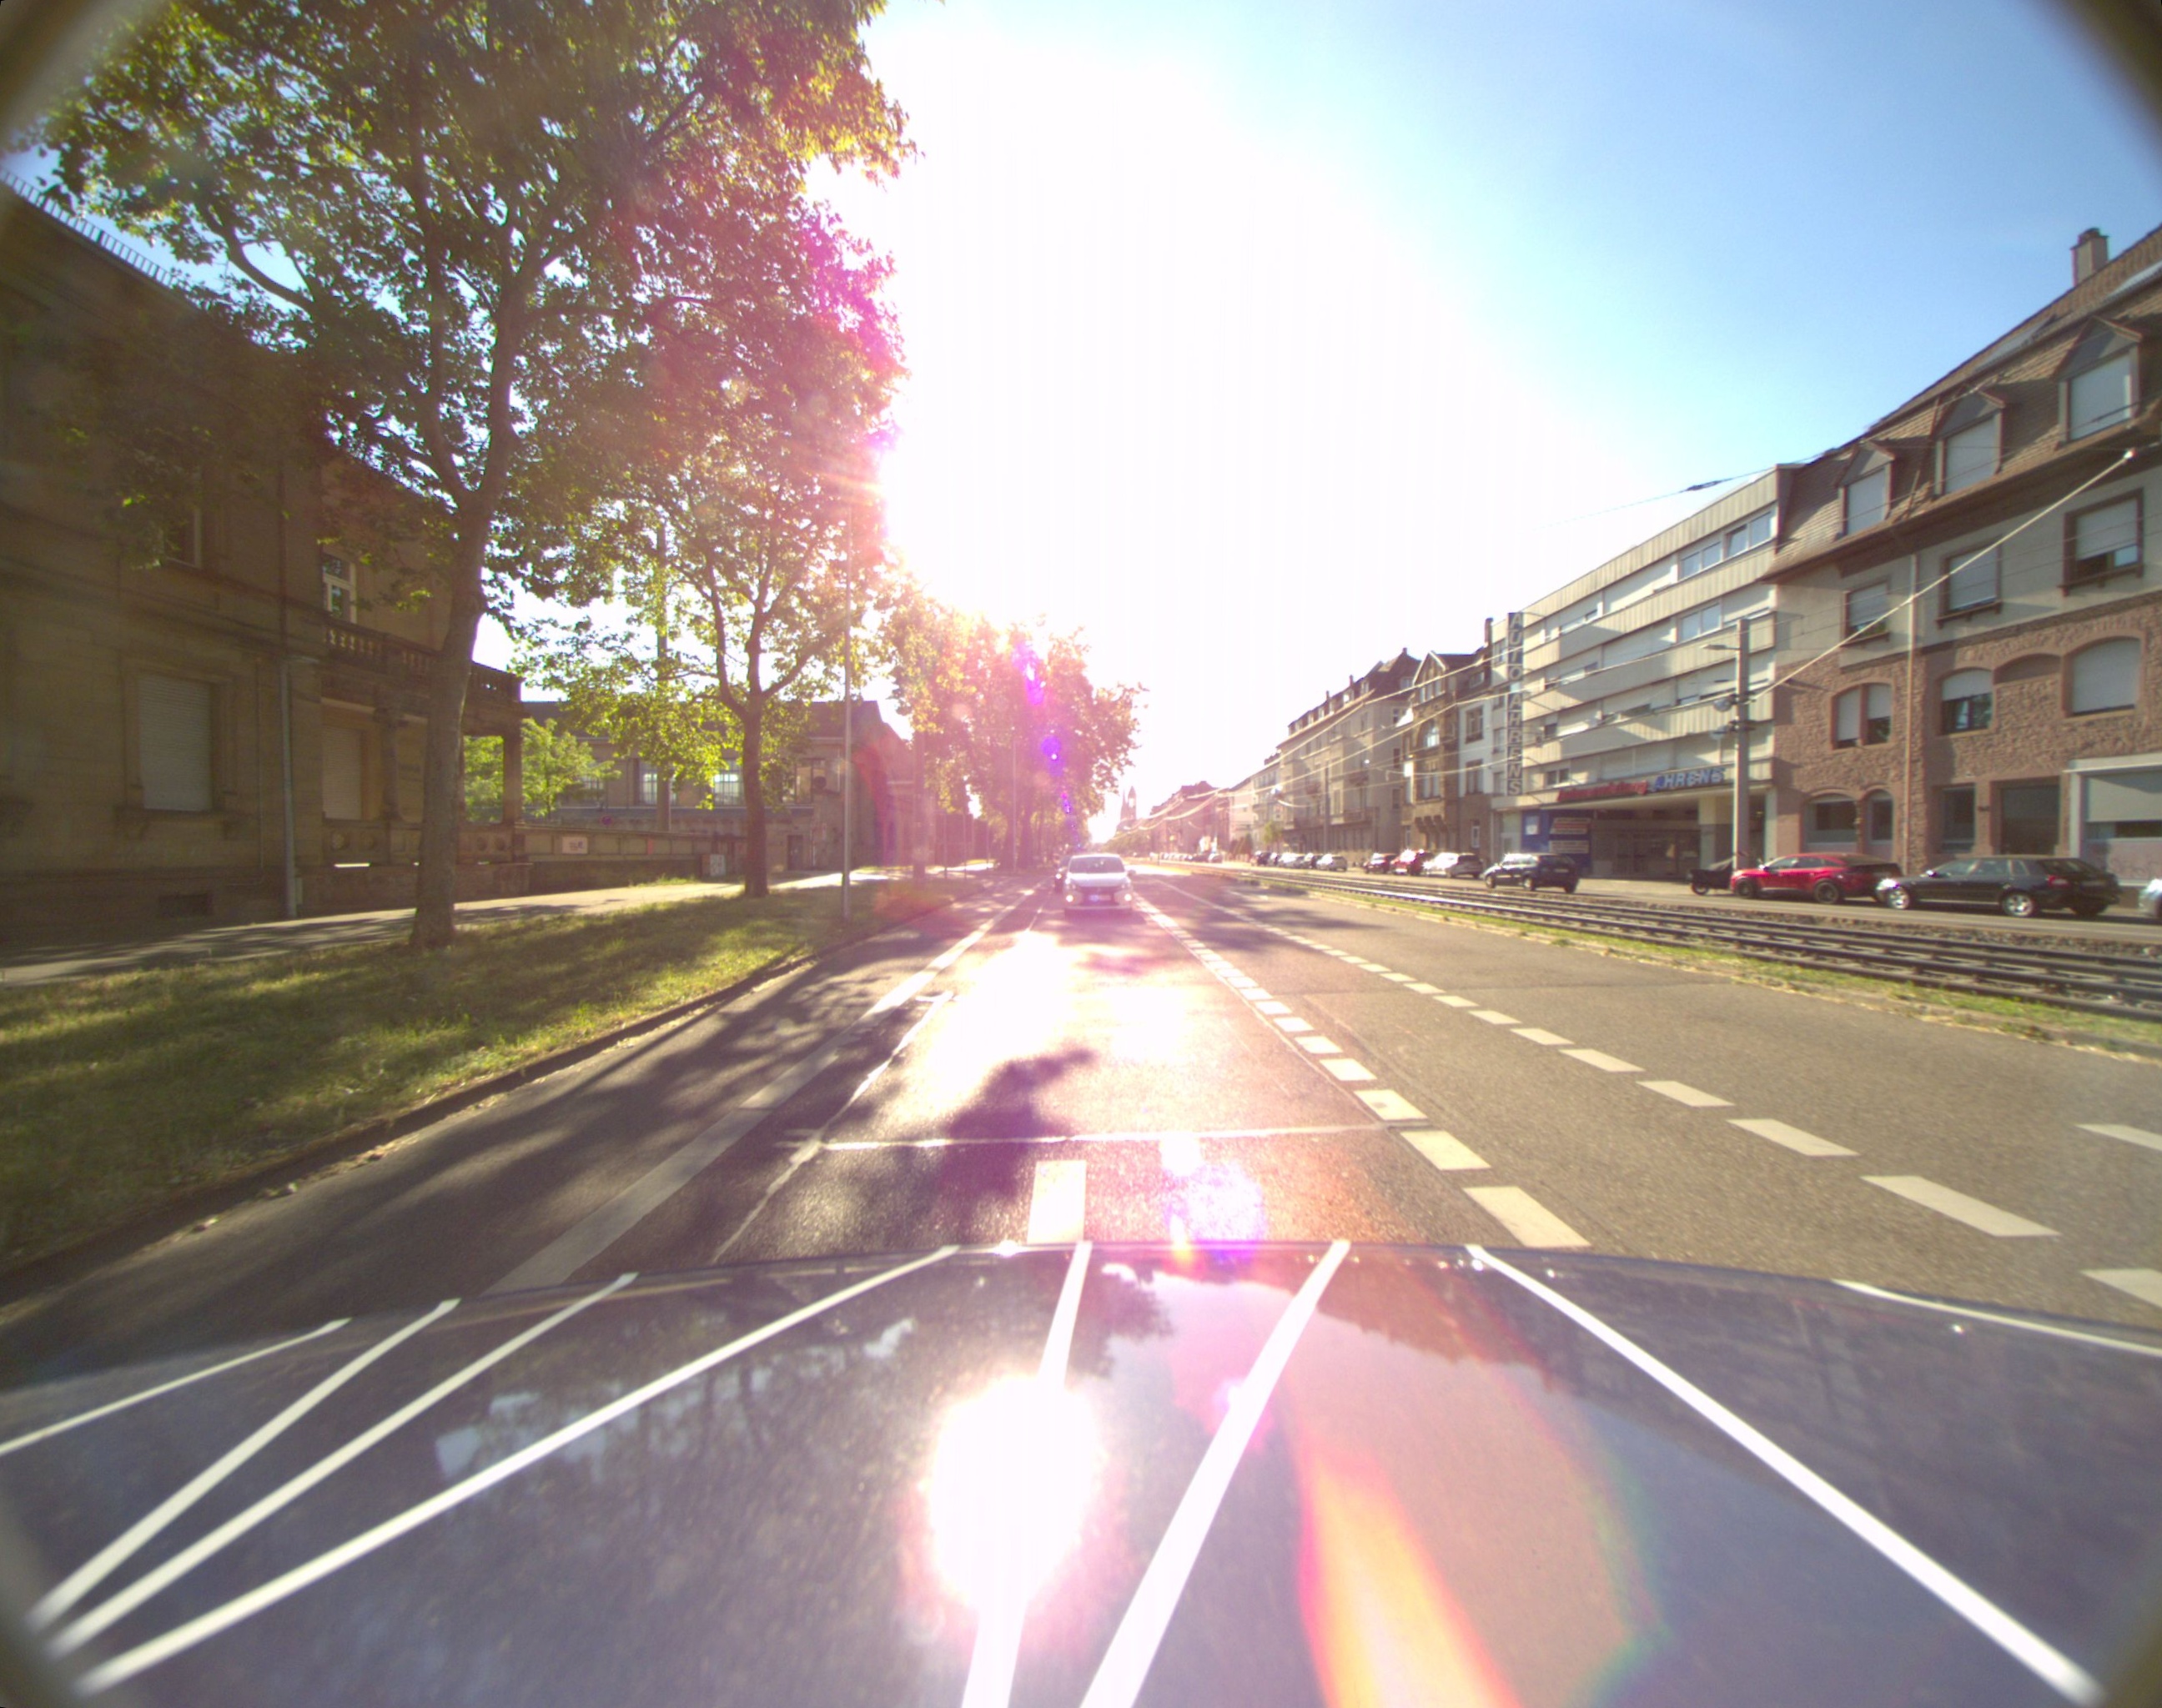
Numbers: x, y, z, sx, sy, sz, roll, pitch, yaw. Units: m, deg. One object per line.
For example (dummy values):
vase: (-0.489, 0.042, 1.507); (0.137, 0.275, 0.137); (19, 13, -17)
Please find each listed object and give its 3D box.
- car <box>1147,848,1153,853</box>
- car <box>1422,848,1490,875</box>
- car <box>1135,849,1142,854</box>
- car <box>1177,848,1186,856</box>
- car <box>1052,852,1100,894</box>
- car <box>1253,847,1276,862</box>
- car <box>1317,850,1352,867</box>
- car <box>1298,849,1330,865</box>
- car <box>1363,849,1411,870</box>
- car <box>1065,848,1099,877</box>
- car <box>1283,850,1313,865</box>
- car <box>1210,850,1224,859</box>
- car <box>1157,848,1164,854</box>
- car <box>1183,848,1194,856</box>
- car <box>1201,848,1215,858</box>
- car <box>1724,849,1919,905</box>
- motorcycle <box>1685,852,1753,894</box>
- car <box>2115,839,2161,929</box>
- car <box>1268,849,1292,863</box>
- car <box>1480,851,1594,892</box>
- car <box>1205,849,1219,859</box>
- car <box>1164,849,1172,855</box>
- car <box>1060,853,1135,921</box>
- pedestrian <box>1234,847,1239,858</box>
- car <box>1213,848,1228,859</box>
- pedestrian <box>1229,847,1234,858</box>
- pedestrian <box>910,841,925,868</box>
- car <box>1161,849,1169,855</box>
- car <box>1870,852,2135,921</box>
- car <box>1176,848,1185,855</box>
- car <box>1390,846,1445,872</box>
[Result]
car: (22.482, -1.185, 246.678); (1.624, 1.581, 3.450); (-1, 1, 0)
car: (22.724, 0.444, 46.226); (1.861, 1.490, 4.381); (-2, 0, -1)
car: (19.043, -0.833, 252.157); (1.822, 1.674, 4.000); (0, 0, 0)
car: (21.956, -0.490, 166.318); (1.624, 1.581, 3.450); (-1, 1, 0)
car: (-0.167, 0.666, 29.197); (1.686, 1.462, 4.055); (-1, 0, 0)
car: (22.760, 0.061, 94.422); (1.876, 1.726, 3.915); (-1, 0, 0)
car: (22.830, 0.394, 68.552); (1.802, 1.471, 3.823); (-1, 0, 0)
car: (22.645, 0.263, 73.925); (1.802, 1.422, 3.822); (-1, 0, -2)
car: (22.771, 0.376, 56.735); (1.756, 1.487, 3.728); (-2, 0, -6)
car: (0.077, 0.433, 42.962); (1.834, 1.543, 3.999); (0, 1, 1)
car: (22.309, 0.313, 78.122); (1.643, 1.438, 3.537); (-1, 0, -7)
car: (22.546, 0.059, 126.257); (1.684, 1.562, 3.388); (-1, 1, 0)
car: (21.833, -0.777, 208.790); (1.624, 1.581, 3.450); (-1, 1, 0)
car: (22.256, -0.453, 157.217); (1.624, 1.581, 3.450); (-1, 1, 0)
car: (22.826, -0.233, 136.594); (1.727, 1.776, 3.880); (-1, 1, 0)
car: (22.630, 0.630, 23.494); (1.861, 1.490, 4.210); (-3, 0, -1)
motorcycle: (22.803, 0.672, 27.182); (1.860, 1.413, 0.629); (-2, 0, 0)
car: (22.411, 0.580, 13.584); (1.890, 1.748, 4.418); (-3, 0, 2)
car: (23.219, 0.213, 88.875); (1.802, 1.471, 3.823); (-1, 0, 0)
car: (17.340, 0.609, 29.151); (1.825, 1.448, 4.165); (1, 1, -1)
car: (22.613, -0.034, 131.347); (1.684, 1.562, 3.388); (-1, 1, 0)
car: (22.530, -0.549, 196.369); (1.624, 1.581, 3.450); (-1, 1, 0)
car: (0.383, 0.748, 19.238); (1.686, 1.462, 4.055); (-1, 0, 0)
pedestrian: (25.787, -0.246, 126.136); (0.725, 1.779, 0.677); (0, 1, -1)
car: (22.174, -0.044, 120.883); (1.677, 1.622, 3.407); (-1, 0, 0)
pedestrian: (24.946, -0.238, 126.167); (0.725, 1.779, 0.677); (0, 1, -1)
pedestrian: (-10.168, 0.048, 47.340); (0.672, 1.652, 0.874); (1, 1, 1)
car: (22.306, -0.599, 201.285); (1.624, 1.581, 3.450); (-1, 1, 0)
car: (22.351, 0.722, 18.713); (1.699, 1.429, 3.927); (-3, 0, -1)
car: (22.414, -0.637, 171.746); (1.624, 1.581, 3.450); (-1, 1, 0)
car: (22.741, 0.309, 51.585); (1.860, 1.677, 4.263); (-2, 0, 1)
